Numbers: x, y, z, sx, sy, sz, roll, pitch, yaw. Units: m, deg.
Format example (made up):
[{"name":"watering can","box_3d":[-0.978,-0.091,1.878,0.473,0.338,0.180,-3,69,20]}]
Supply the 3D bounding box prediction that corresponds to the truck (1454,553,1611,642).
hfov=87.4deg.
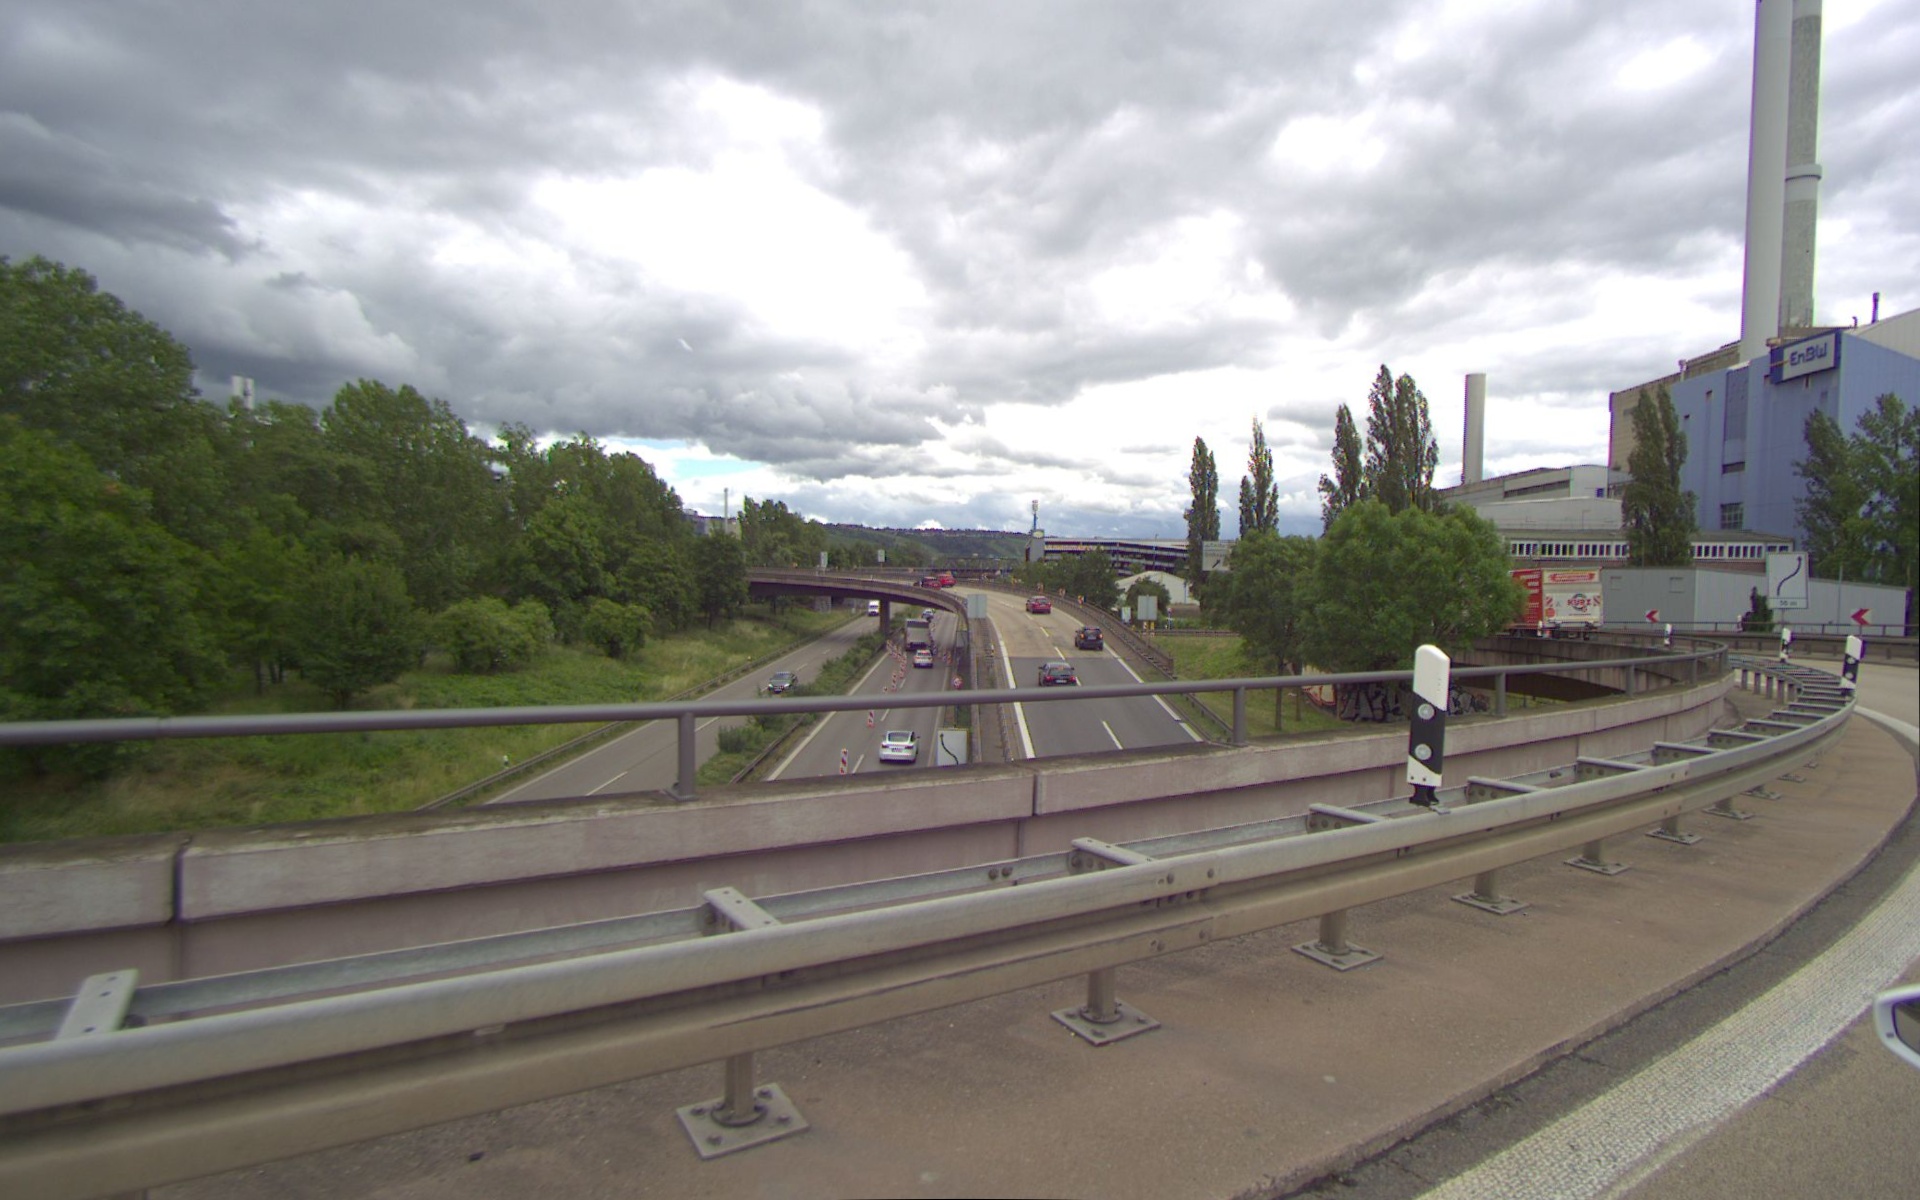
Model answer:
[{"name":"truck","box_3d":[26.217,-0.165,46.546,2.999,3.722,7.928,1,1,3]}]
